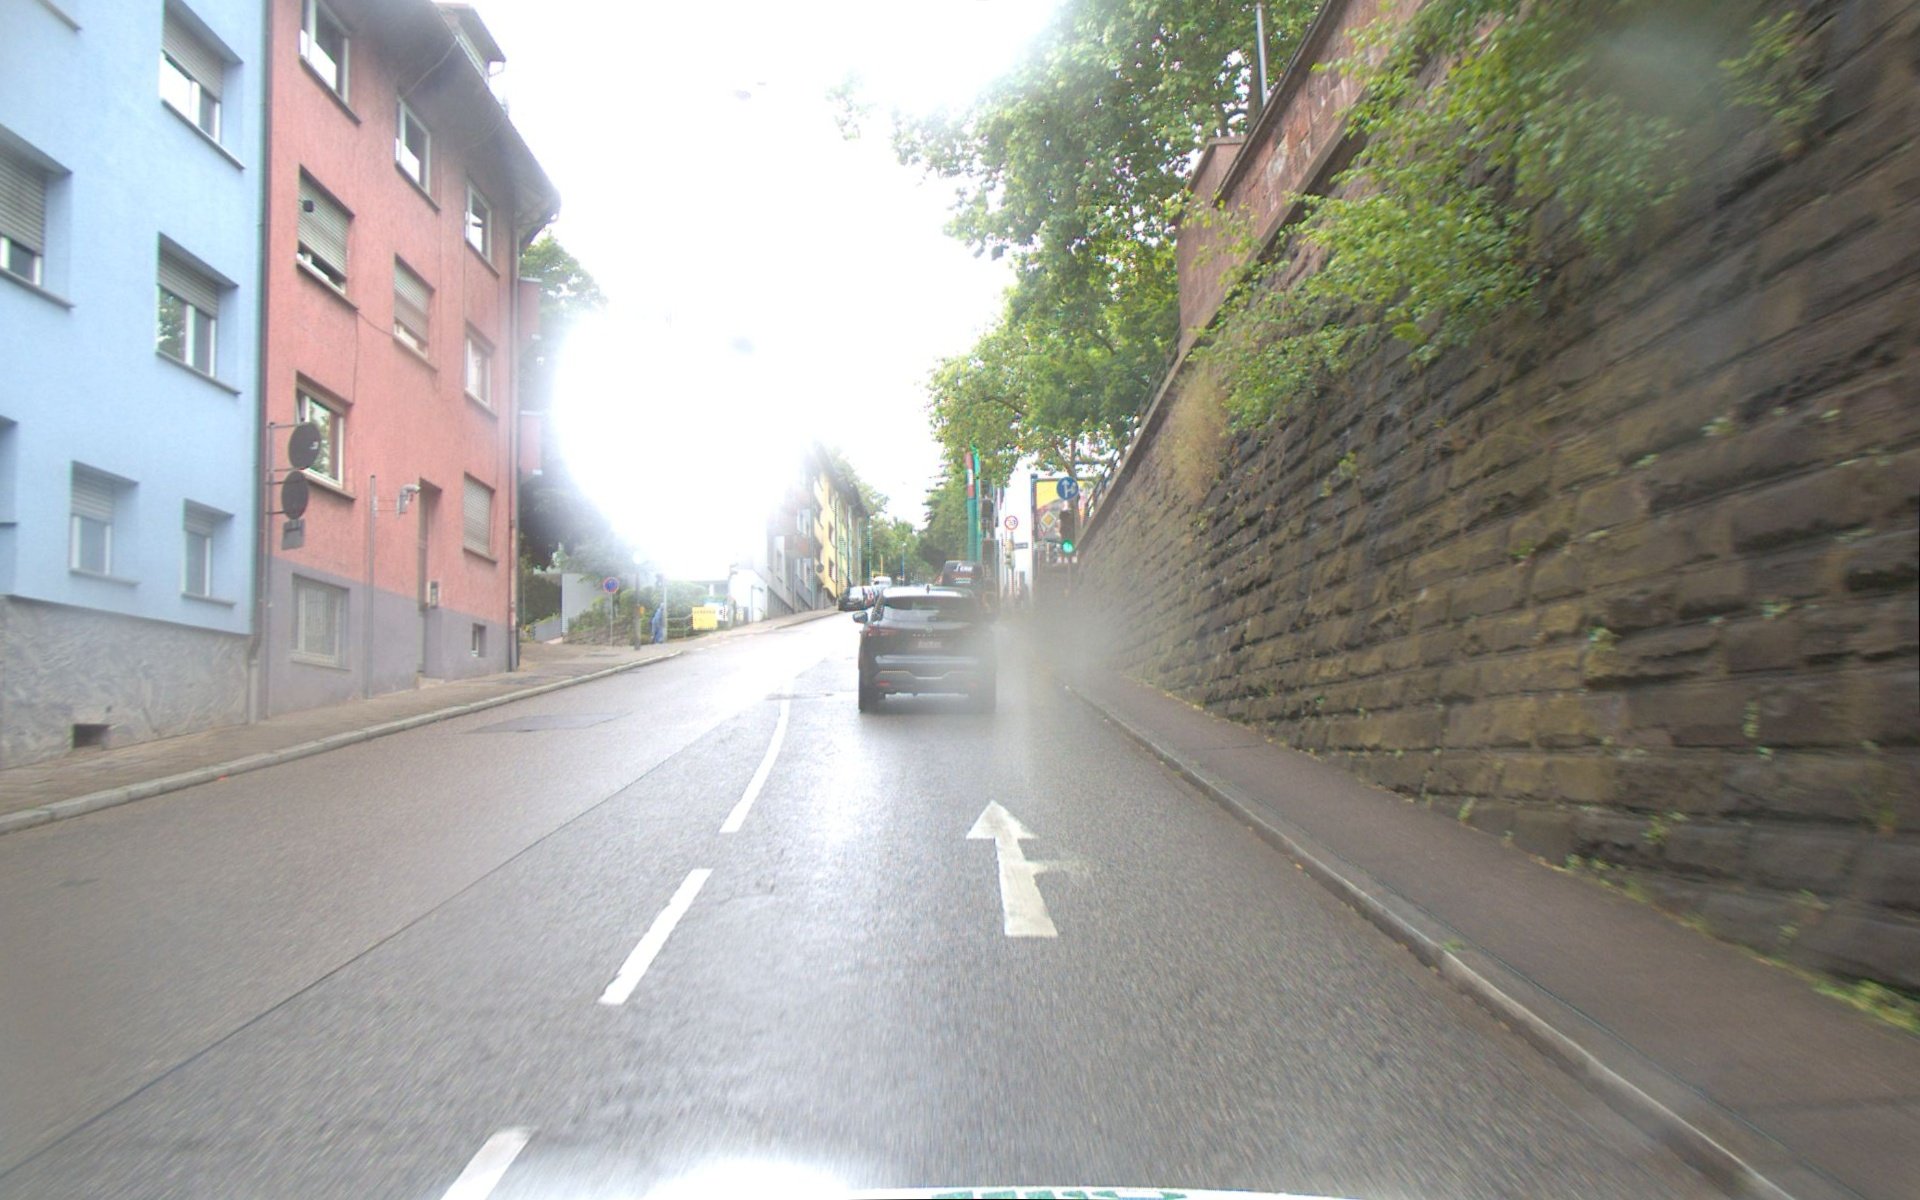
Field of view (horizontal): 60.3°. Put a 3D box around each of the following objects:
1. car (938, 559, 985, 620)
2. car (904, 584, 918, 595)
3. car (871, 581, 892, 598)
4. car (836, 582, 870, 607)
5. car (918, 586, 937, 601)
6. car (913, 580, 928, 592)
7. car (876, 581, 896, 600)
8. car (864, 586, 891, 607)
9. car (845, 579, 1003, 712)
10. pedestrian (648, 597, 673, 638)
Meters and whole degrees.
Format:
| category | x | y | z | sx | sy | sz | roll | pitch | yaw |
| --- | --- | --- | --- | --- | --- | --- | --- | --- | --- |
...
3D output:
| category | x | y | z | sx | sy | sz | roll | pitch | yaw |
| --- | --- | --- | --- | --- | --- | --- | --- | --- | --- |
| car | 0.096 | -0.406 | 71.578 | 1.952 | 2.456 | 5.836 | 0 | -1 | 1 |
| car | -7.292 | -1.603 | 247.135 | 2.033 | 1.586 | 3.999 | -1 | 1 | -2 |
| car | -7.523 | -1.024 | 158.649 | 1.950 | 1.612 | 4.304 | -1 | 1 | -2 |
| car | -7.659 | -0.442 | 118.810 | 1.952 | 1.678 | 4.443 | -1 | 1 | 1 |
| car | -3.760 | -0.769 | 190.647 | 2.033 | 1.586 | 3.999 | -1 | 1 | -2 |
| car | -5.235 | -1.865 | 219.500 | 2.033 | 1.586 | 3.999 | -1 | 1 | -2 |
| car | -7.414 | -0.960 | 165.400 | 1.950 | 1.786 | 4.479 | -1 | 1 | -2 |
| car | -7.074 | -0.334 | 141.730 | 1.952 | 1.678 | 4.443 | -1 | 1 | 1 |
| car | -0.477 | 0.541 | 22.455 | 1.953 | 1.586 | 4.000 | 0 | 1 | -1 |
| pedestrian | -11.597 | 0.690 | 64.052 | 0.852 | 1.568 | 1.086 | 0 | -2 | -4 |
